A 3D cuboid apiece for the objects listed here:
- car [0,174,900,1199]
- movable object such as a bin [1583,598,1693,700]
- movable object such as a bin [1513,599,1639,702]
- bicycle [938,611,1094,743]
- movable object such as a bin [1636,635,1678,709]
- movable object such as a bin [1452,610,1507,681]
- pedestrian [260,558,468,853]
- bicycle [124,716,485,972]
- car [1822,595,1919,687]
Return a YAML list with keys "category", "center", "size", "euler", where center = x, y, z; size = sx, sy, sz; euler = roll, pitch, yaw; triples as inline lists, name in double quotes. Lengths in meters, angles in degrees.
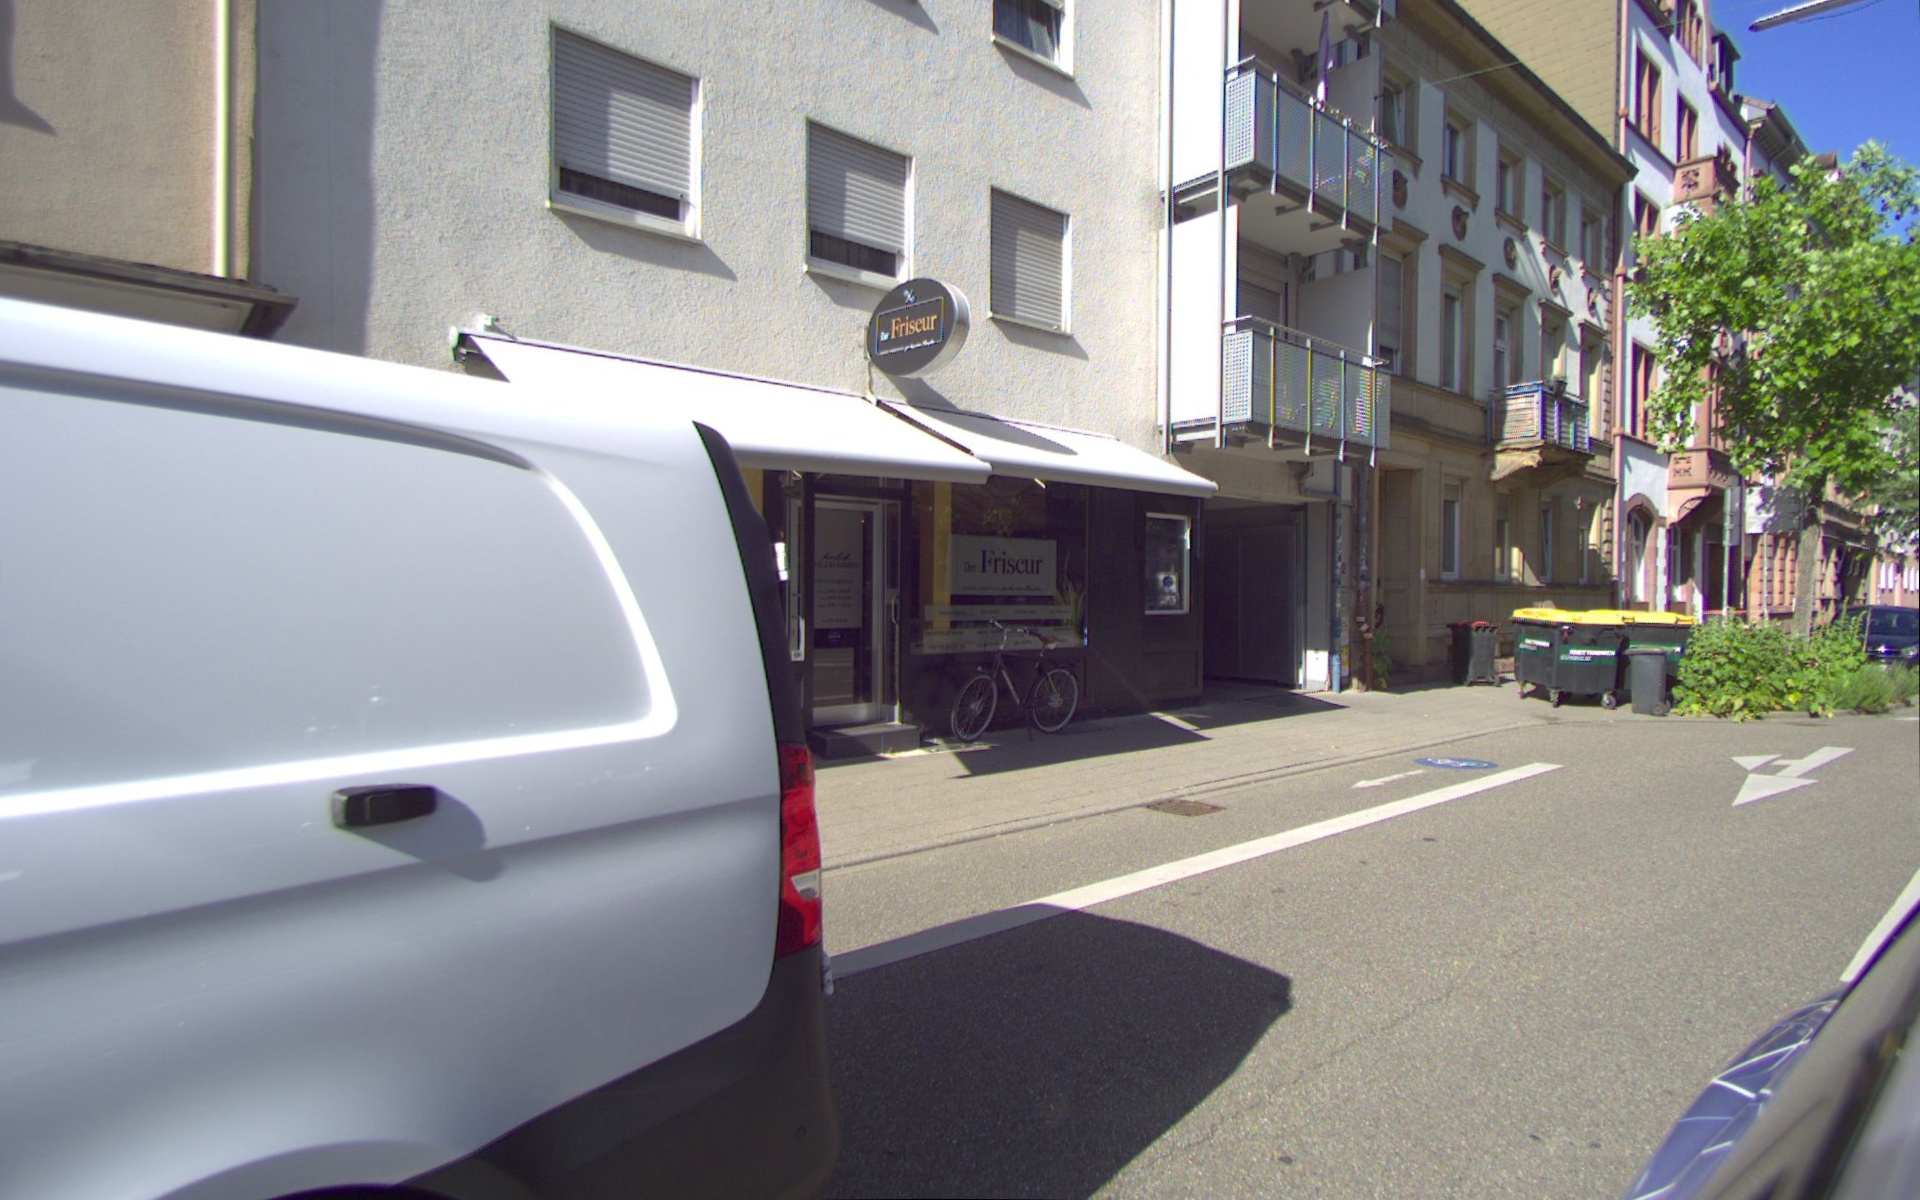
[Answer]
- category: "car"
  center: [-2.529, 0.498, 0.871]
  size: [4.912, 1.892, 1.838]
  euler: [0, 1, -43]
- category: "movable object such as a bin"
  center: [9.947, 0.688, 14.895]
  size: [0.943, 1.365, 1.066]
  euler: [1, 3, 11]
- category: "movable object such as a bin"
  center: [8.830, 0.703, 14.572]
  size: [1.030, 1.341, 1.216]
  euler: [1, 3, 1]
- category: "bicycle"
  center: [0.592, 0.721, 10.097]
  size: [1.760, 1.193, 0.402]
  euler: [0, 0, -41]
- category: "movable object such as a bin"
  center: [9.559, 0.974, 13.881]
  size: [0.399, 0.933, 0.478]
  euler: [3, 3, 41]
- category: "movable object such as a bin"
  center: [8.521, 0.743, 16.618]
  size: [0.557, 1.094, 0.617]
  euler: [1, 3, 1]
- category: "pedestrian"
  center: [-3.566, 0.556, 6.049]
  size: [0.930, 1.556, 0.825]
  euler: [0, 4, -41]
- category: "bicycle"
  center: [-3.822, 1.360, 6.009]
  size: [1.760, 1.146, 0.402]
  euler: [0, 4, -41]
- category: "car"
  center: [16.825, 0.677, 18.209]
  size: [3.293, 1.510, 1.550]
  euler: [0, 1, -41]
